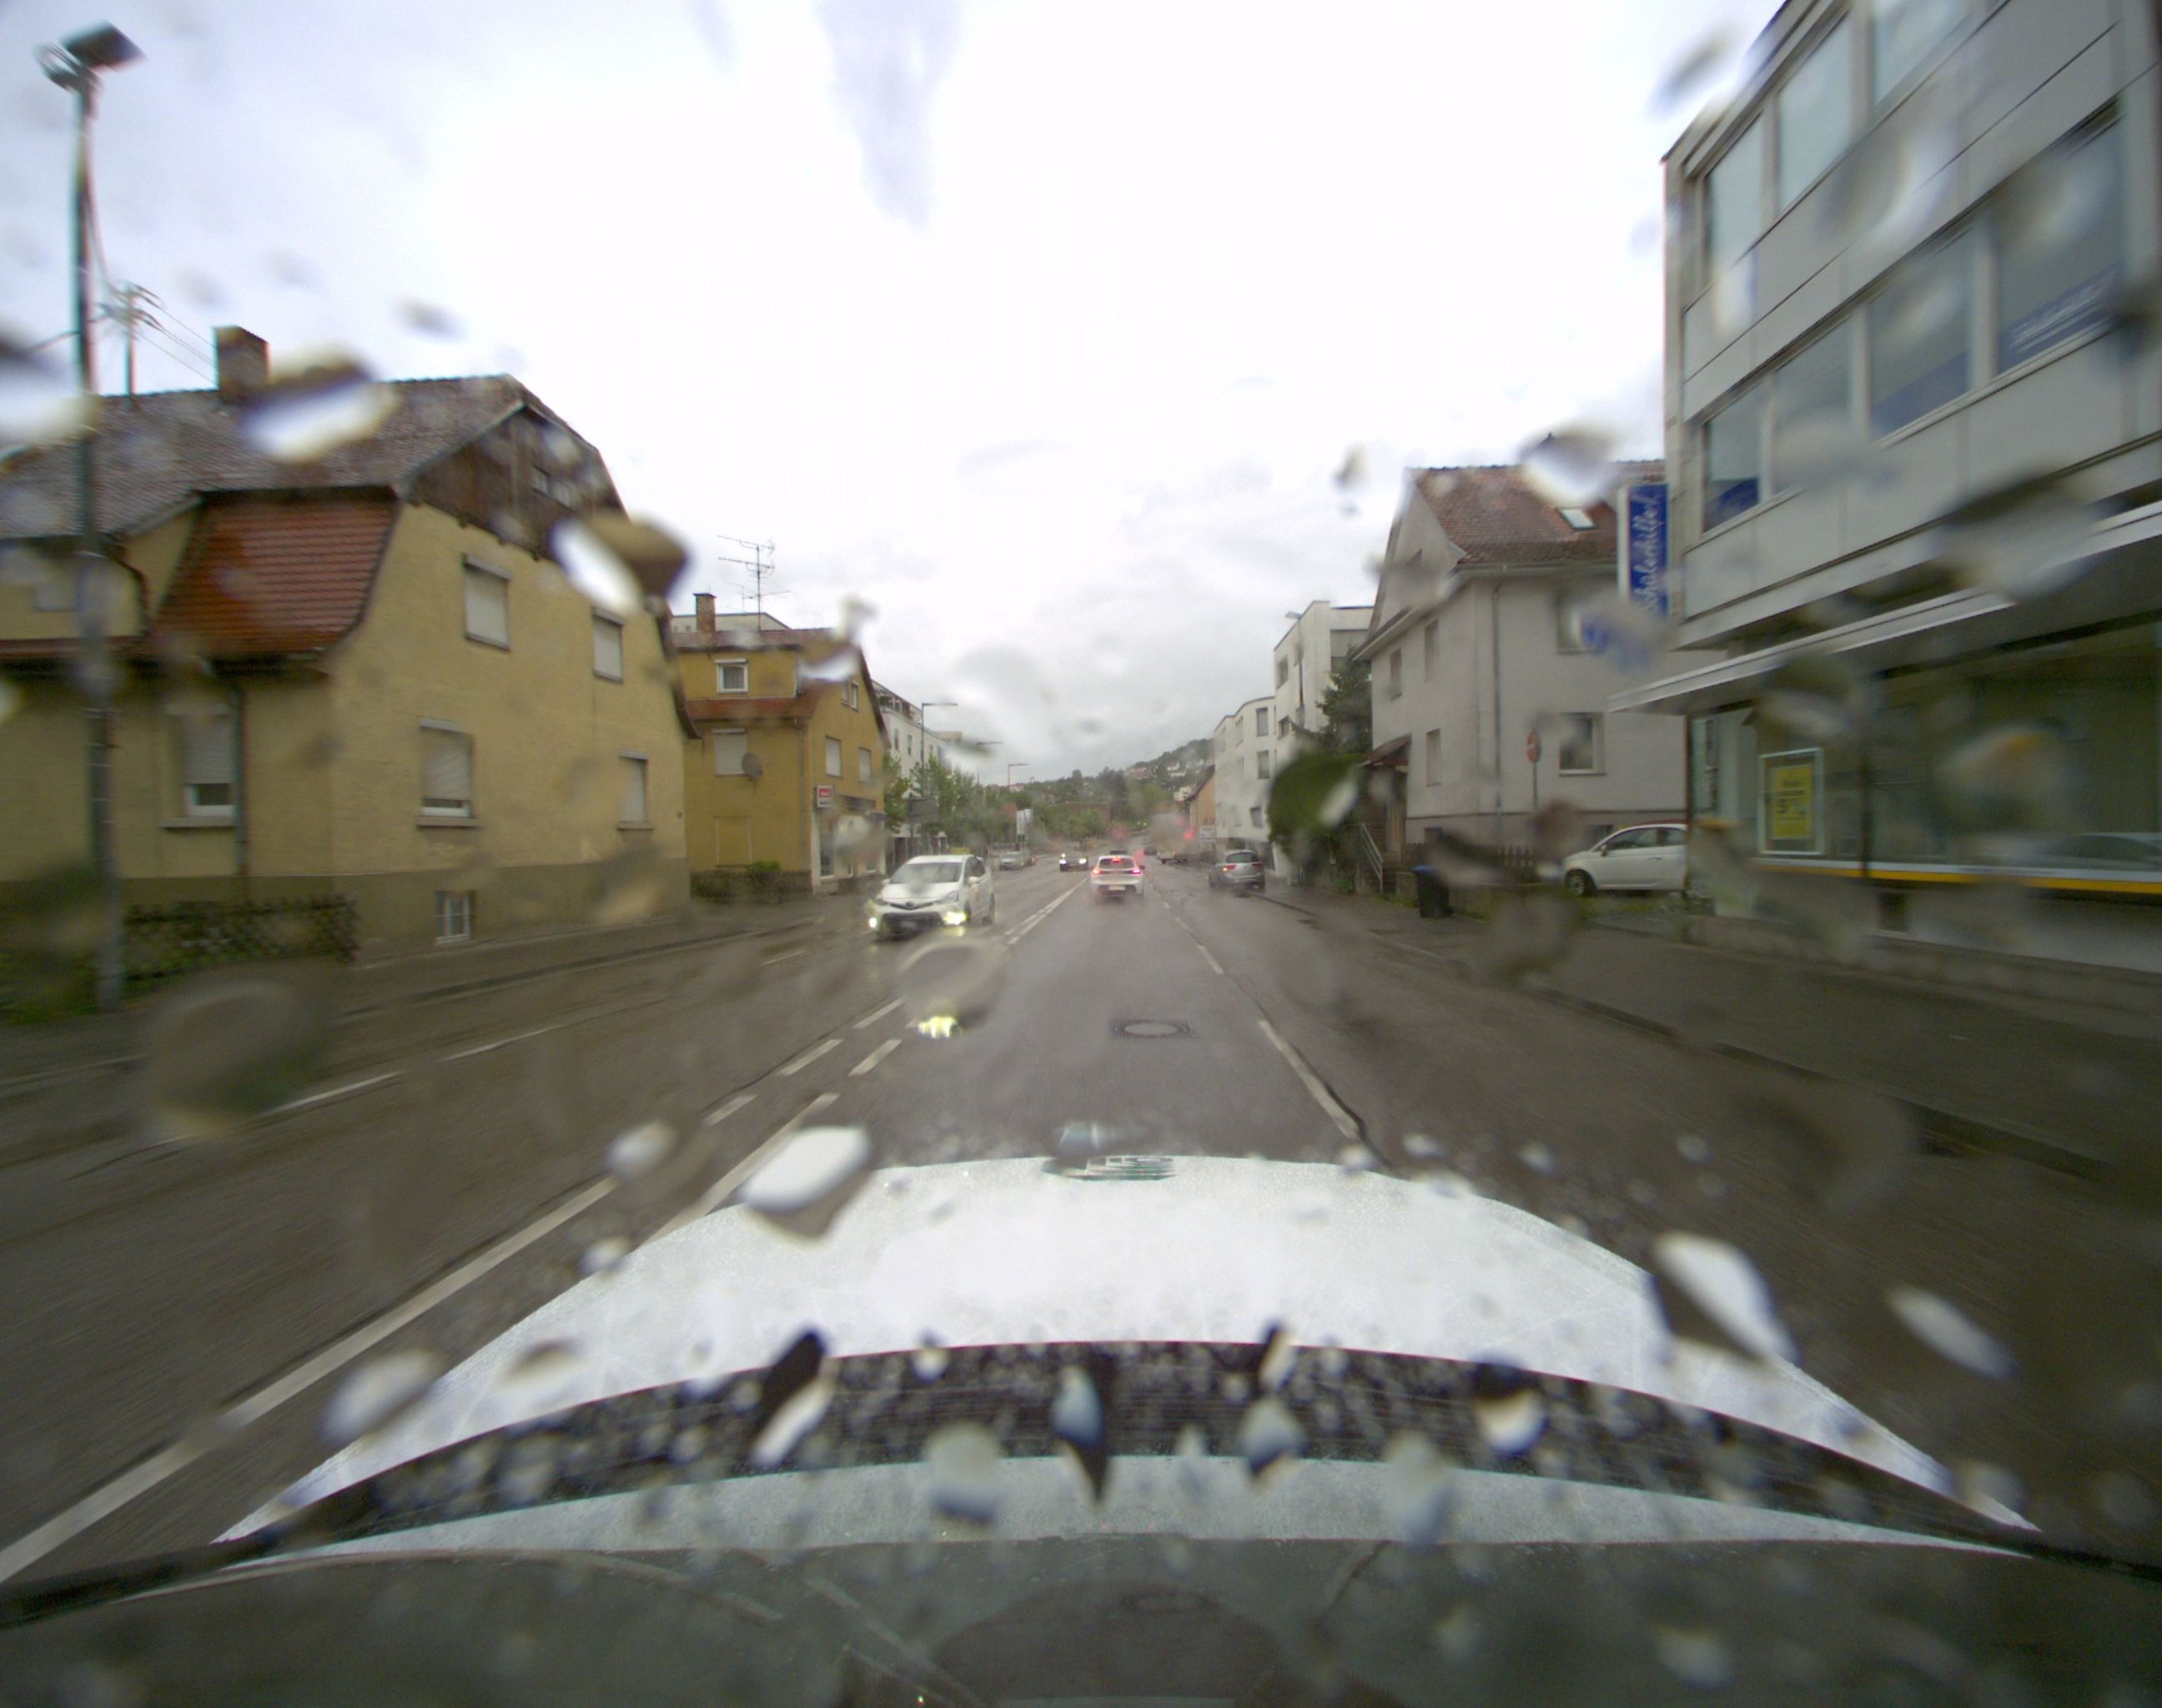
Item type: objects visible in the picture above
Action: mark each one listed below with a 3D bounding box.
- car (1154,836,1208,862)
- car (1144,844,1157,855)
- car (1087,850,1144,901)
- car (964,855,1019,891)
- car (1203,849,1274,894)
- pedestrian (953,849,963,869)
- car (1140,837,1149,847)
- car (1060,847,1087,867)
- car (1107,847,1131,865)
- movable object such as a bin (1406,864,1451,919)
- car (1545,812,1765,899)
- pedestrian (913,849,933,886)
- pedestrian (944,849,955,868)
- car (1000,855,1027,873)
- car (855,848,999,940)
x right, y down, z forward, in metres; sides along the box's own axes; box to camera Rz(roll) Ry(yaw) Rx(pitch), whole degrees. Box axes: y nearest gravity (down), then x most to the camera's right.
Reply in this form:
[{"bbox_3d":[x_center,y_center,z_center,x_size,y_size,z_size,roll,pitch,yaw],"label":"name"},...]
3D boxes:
[{"bbox_3d":[9.932,-0.483,80.498,2.268,2.382,6.667,-3,-1,36],"label":"car"},{"bbox_3d":[10.608,-0.705,124.381,1.727,1.387,3.355,-1,4,2],"label":"car"},{"bbox_3d":[1.158,0.693,26.839,1.684,1.519,3.935,-2,-1,3],"label":"car"},{"bbox_3d":[-3.938,0.824,36.465,1.642,1.418,4.142,-4,-1,4],"label":"car"},{"bbox_3d":[6.156,0.720,32.378,2.004,1.622,4.360,-1,-2,1],"label":"car"},{"bbox_3d":[-13.088,0.532,86.573,0.741,2.145,0.774,-1,-1,16],"label":"pedestrian"},{"bbox_3d":[14.055,-2.603,180.835,1.985,2.014,4.003,-2,-1,3],"label":"car"},{"bbox_3d":[-0.509,0.237,60.672,1.761,1.413,4.528,-2,-1,2],"label":"car"},{"bbox_3d":[2.890,0.159,62.068,1.735,1.295,3.335,-2,0,2],"label":"car"},{"bbox_3d":[7.156,0.756,16.785,0.573,1.048,0.831,-3,1,2],"label":"movable object such as a bin"},{"bbox_3d":[11.471,0.056,16.486,1.359,1.502,3.308,-5,1,-29],"label":"car"},{"bbox_3d":[-7.985,0.683,41.227,0.799,1.788,0.881,-2,-1,-4],"label":"pedestrian"},{"bbox_3d":[-12.269,0.463,76.075,0.805,1.738,1.003,-2,-1,2],"label":"pedestrian"},{"bbox_3d":[-5.709,0.870,69.158,1.789,1.463,4.479,-1,-1,1],"label":"car"},{"bbox_3d":[-3.017,0.746,17.046,1.871,1.609,4.721,-2,-1,2],"label":"car"}]
